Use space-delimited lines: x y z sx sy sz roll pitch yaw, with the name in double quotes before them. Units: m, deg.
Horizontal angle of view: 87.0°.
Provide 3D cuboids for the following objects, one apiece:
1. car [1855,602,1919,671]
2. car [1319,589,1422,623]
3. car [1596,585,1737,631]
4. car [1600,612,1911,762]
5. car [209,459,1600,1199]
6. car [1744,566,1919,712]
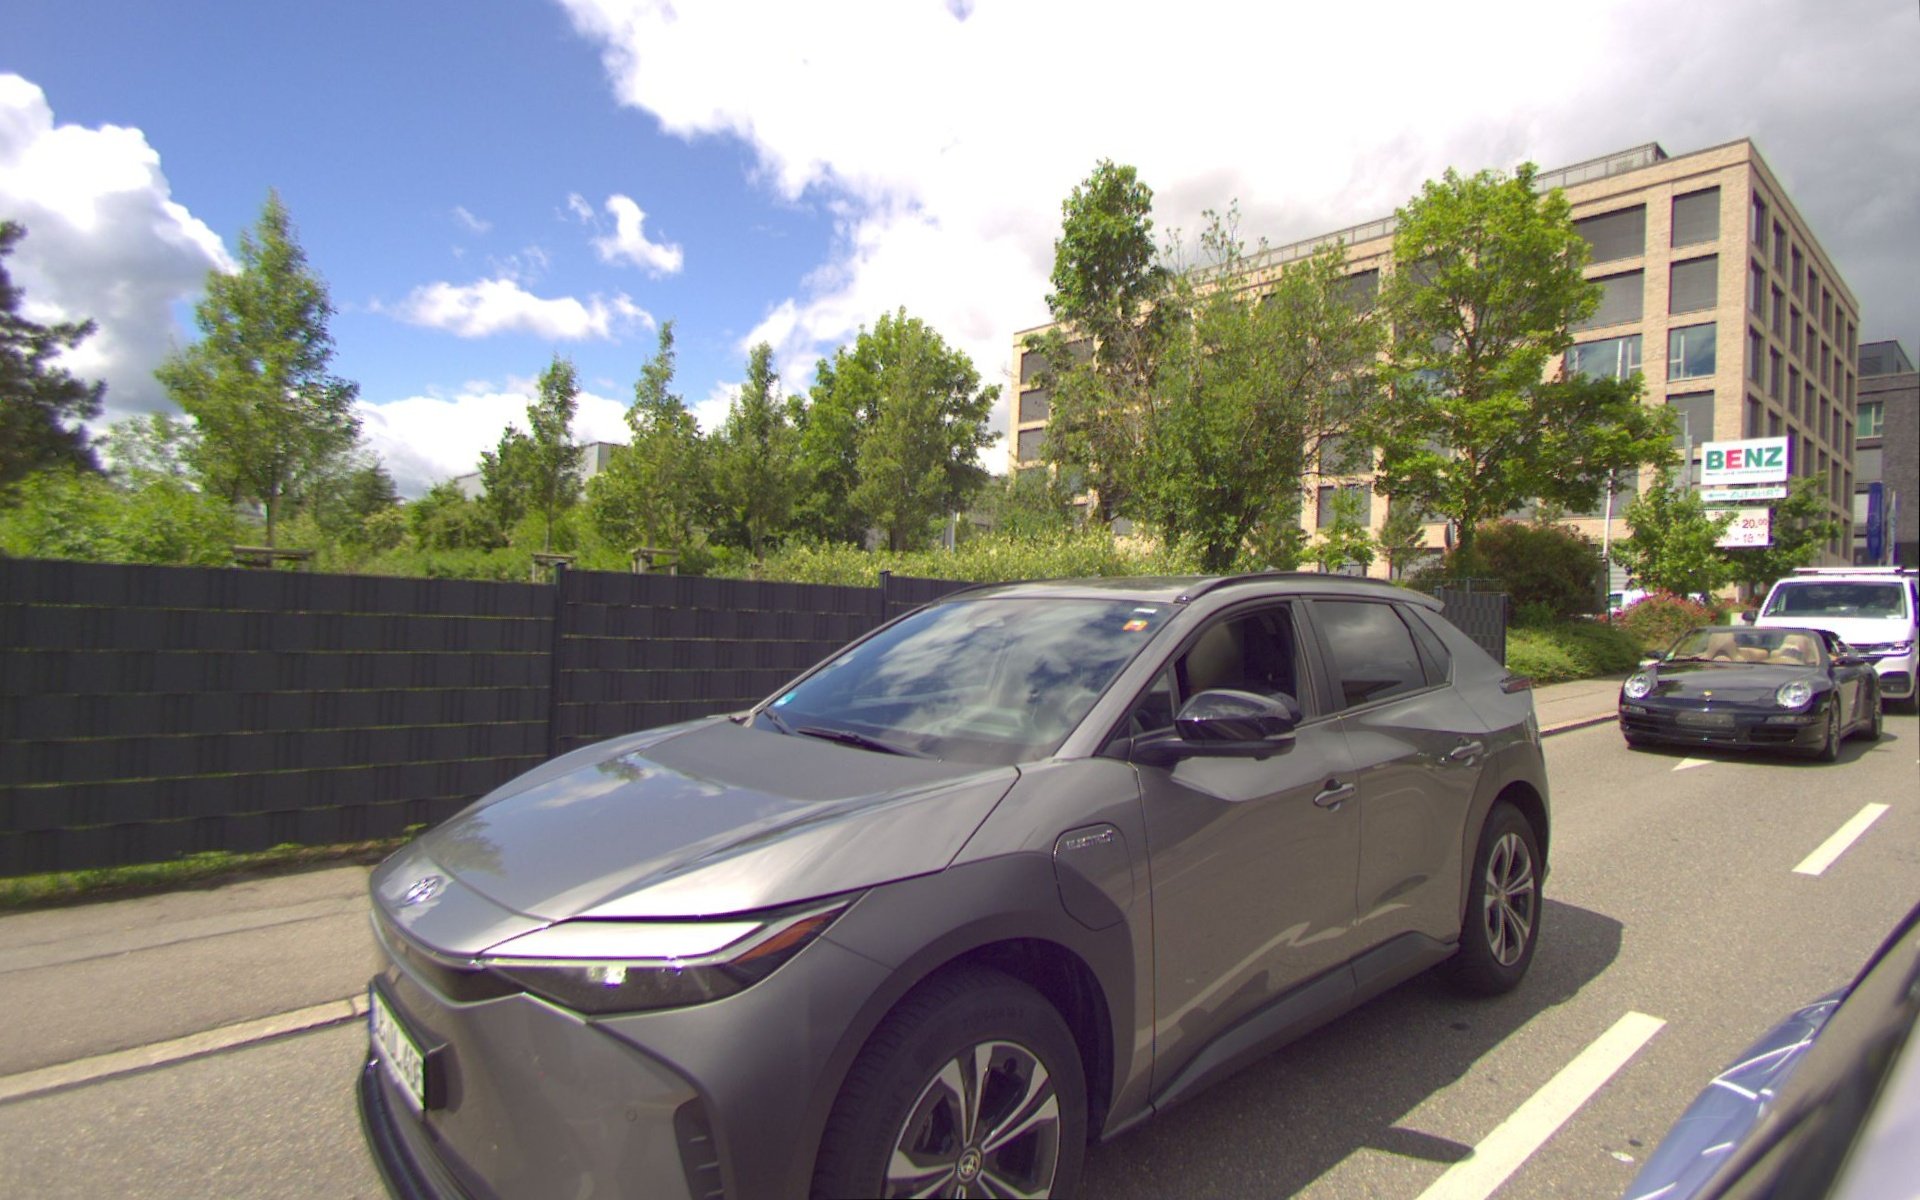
"car" 20.506 0.732 21.242 4.485 1.290 1.778 0 1 -38
"car" 19.341 0.271 47.815 1.705 1.436 4.215 1 1 -41
"car" 27.376 0.278 39.307 1.707 1.596 4.211 1 1 -44
"car" 8.753 0.786 10.991 4.487 1.290 1.776 0 -1 -40
"car" 0.344 0.659 3.500 4.601 1.634 1.922 0 -1 -41
"car" 13.539 0.520 15.168 4.563 1.874 1.962 0 -1 -41
